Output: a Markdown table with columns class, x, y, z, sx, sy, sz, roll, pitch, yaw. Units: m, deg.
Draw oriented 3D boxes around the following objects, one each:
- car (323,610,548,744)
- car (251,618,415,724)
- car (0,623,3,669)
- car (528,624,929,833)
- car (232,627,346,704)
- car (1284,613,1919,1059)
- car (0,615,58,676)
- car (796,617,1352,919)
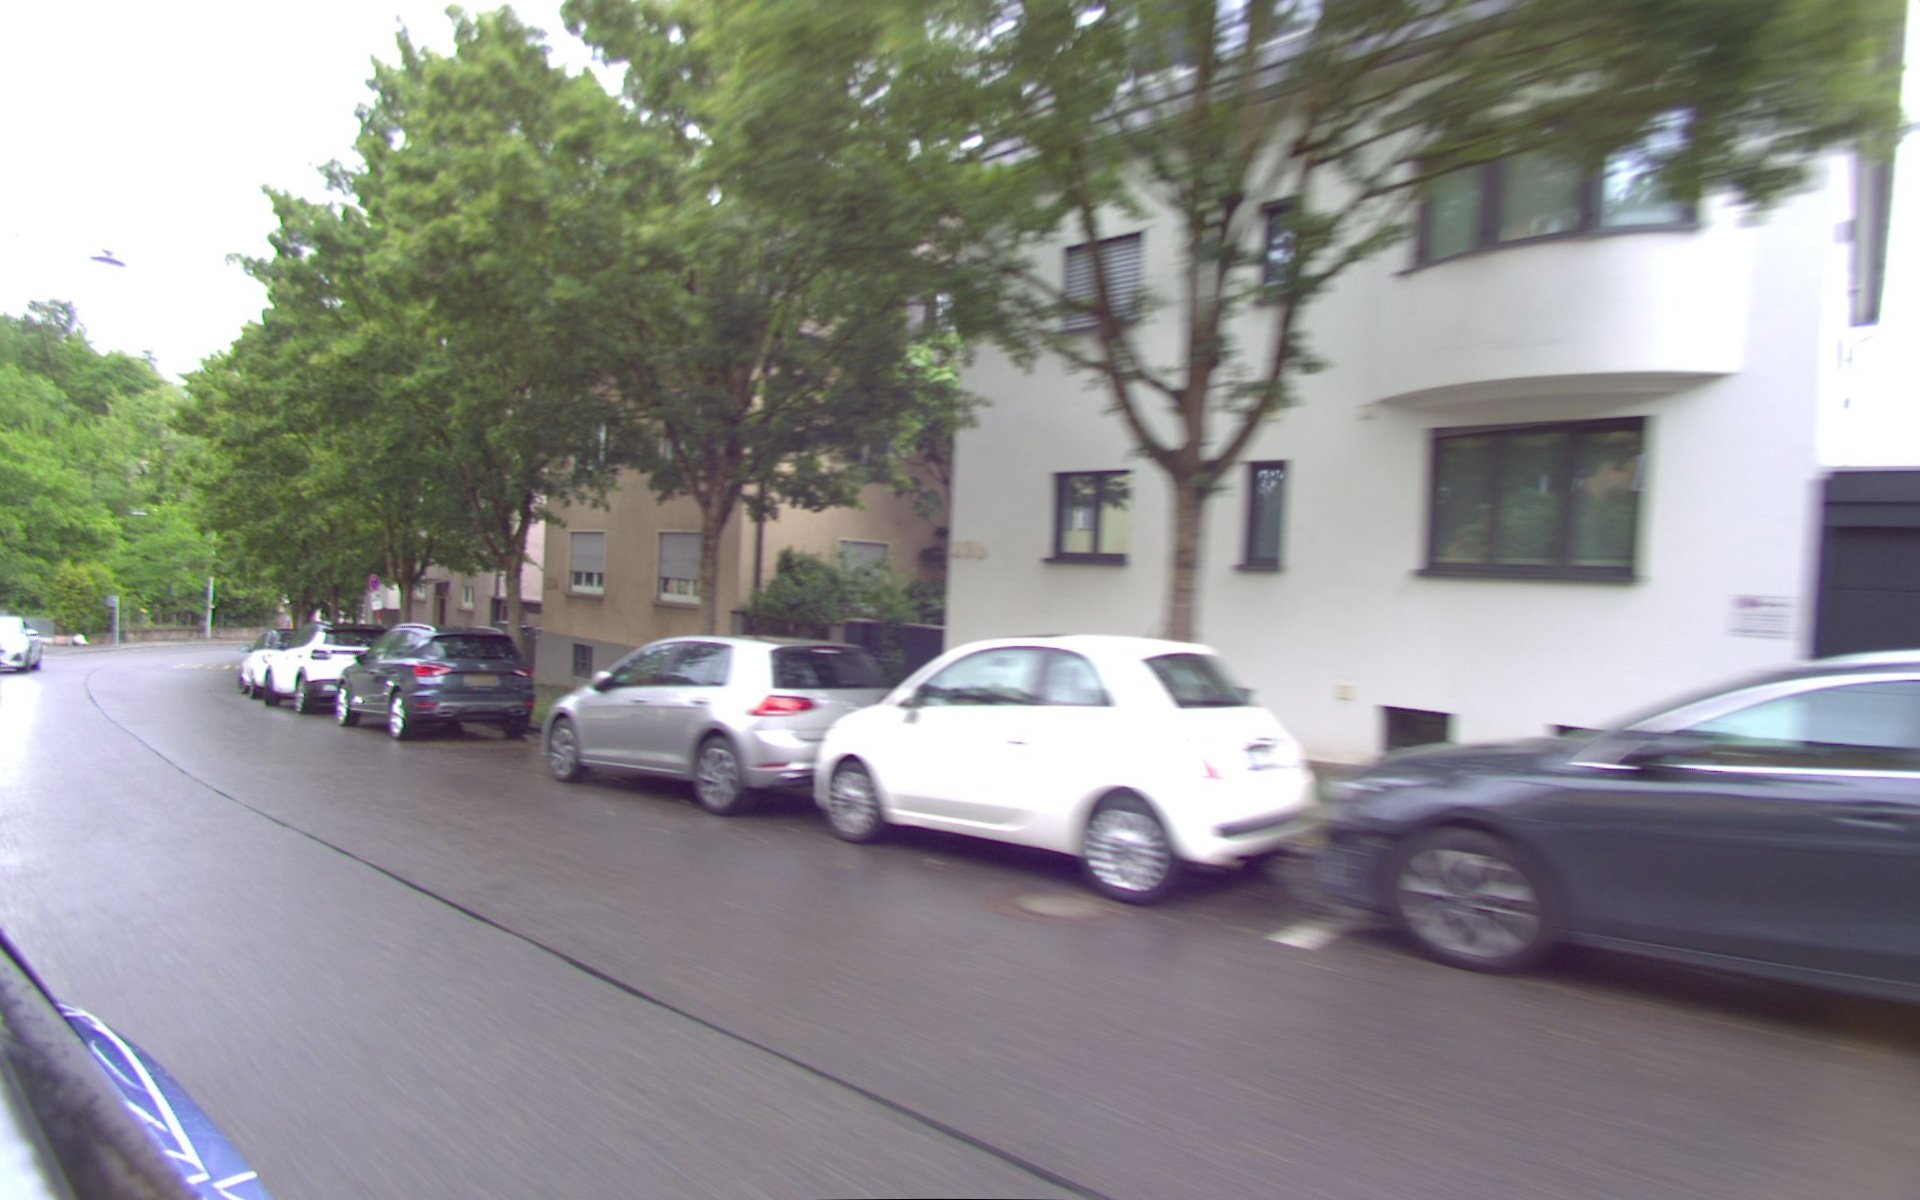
| class | x | y | z | sx | sy | sz | roll | pitch | yaw |
| --- | --- | --- | --- | --- | --- | --- | --- | --- | --- |
| car | -7.676 | 1.055 | 14.650 | 3.925 | 1.671 | 1.600 | -1 | -6 | 44 |
| car | -11.610 | 1.260 | 18.650 | 1.574 | 1.671 | 3.926 | 9 | -7 | -44 |
| car | -17.189 | 1.106 | 16.759 | 1.782 | 1.500 | 4.019 | 4 | -4 | -45 |
| car | -2.294 | 1.043 | 9.421 | 3.972 | 1.481 | 1.600 | 0 | -5 | 42 |
| car | -14.818 | 1.403 | 22.260 | 1.597 | 1.482 | 3.675 | 9 | -7 | -39 |
| car | 3.816 | 0.874 | 4.092 | 4.475 | 1.500 | 1.646 | 0 | -5 | 43 |
| car | -28.029 | 1.293 | 29.411 | 1.980 | 1.674 | 4.457 | 3 | -3 | -33 |
| car | 0.615 | 0.944 | 6.832 | 3.470 | 1.500 | 1.557 | -2 | -6 | 43 |
